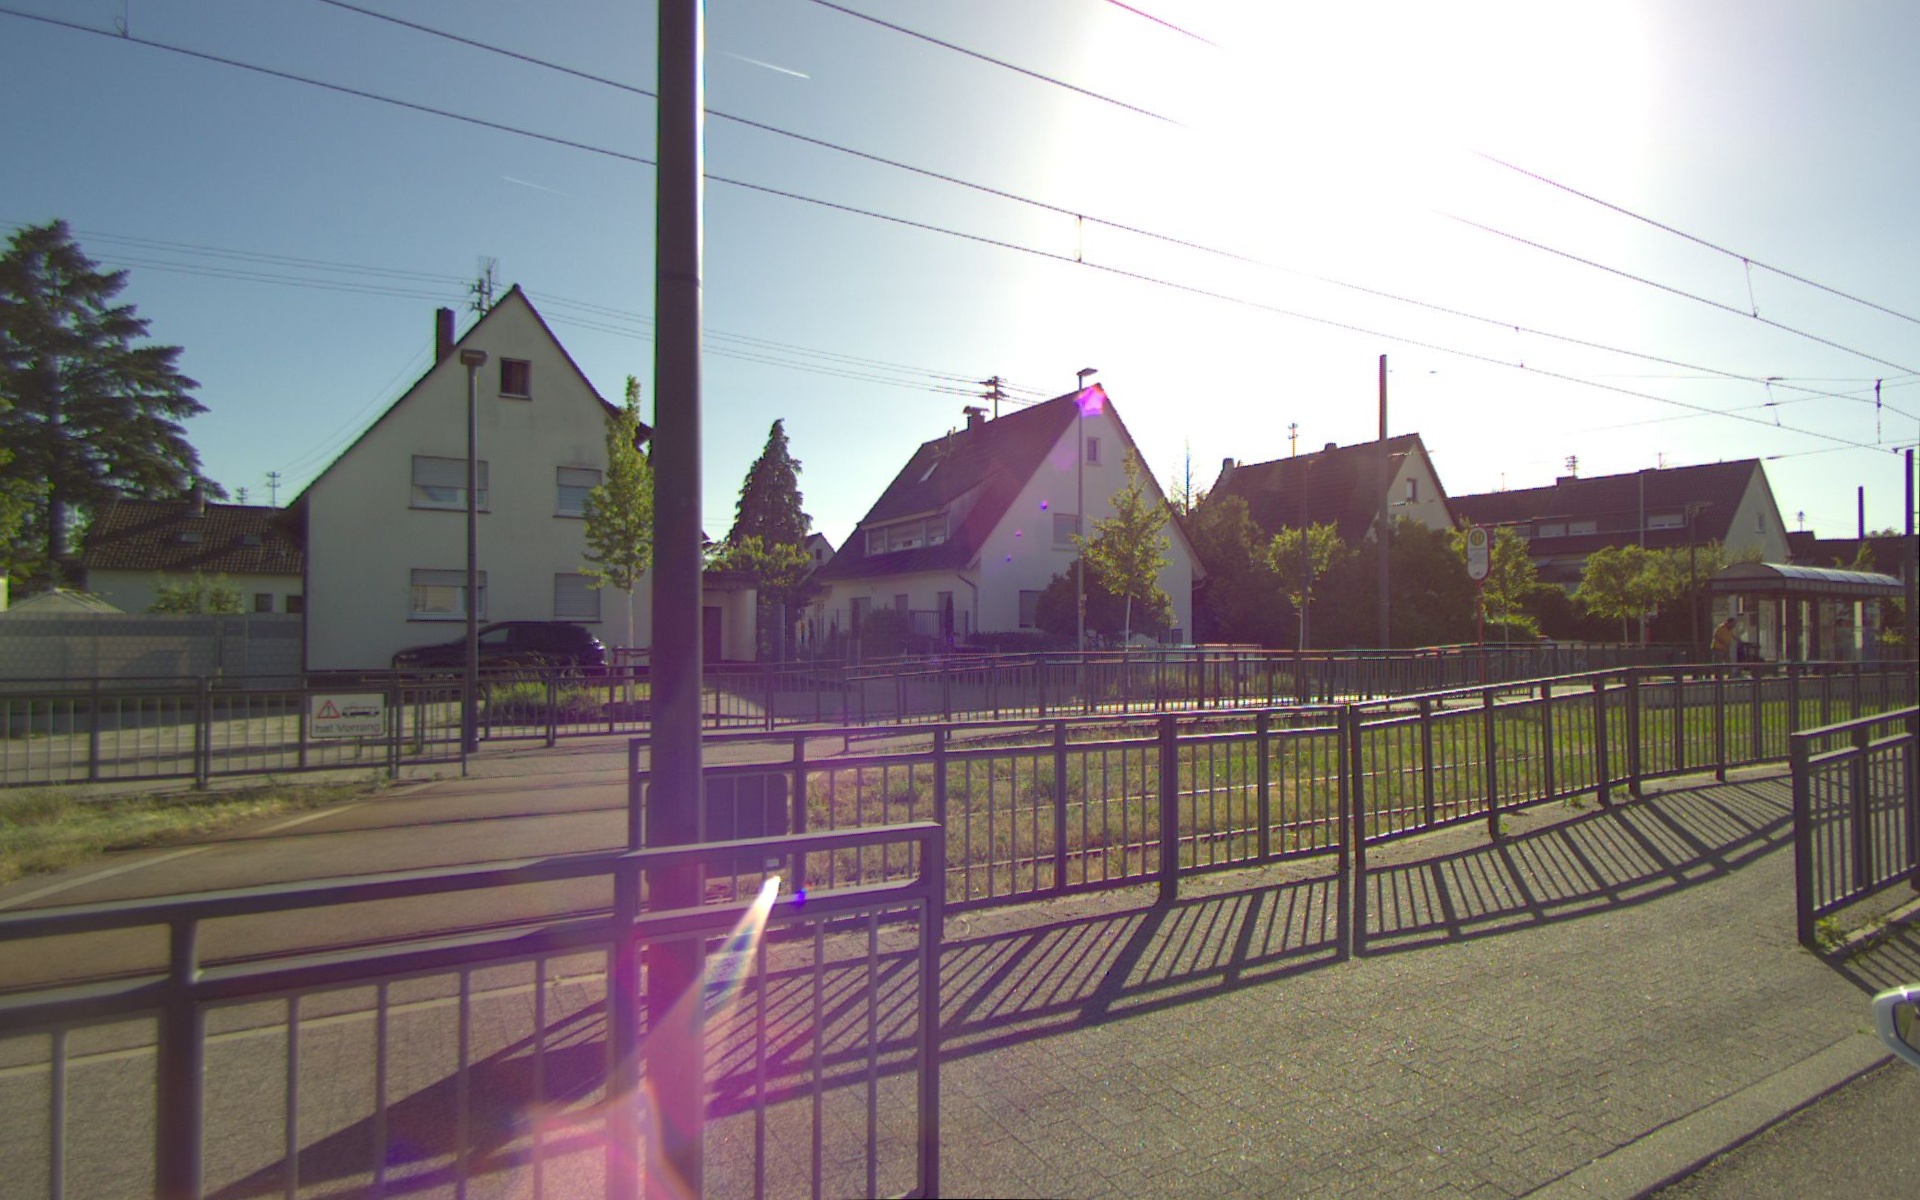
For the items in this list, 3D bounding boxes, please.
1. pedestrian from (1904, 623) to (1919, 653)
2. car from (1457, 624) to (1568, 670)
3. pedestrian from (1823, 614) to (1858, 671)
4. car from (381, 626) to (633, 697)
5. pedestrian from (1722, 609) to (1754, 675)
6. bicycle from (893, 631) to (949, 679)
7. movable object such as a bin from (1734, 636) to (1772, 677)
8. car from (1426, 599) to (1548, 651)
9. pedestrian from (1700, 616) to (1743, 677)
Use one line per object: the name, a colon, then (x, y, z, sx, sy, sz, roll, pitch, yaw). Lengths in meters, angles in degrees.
pedestrian: (58.986, 2.345, 62.058, 0.763, 1.785, 0.725, 1, -2, -32)
car: (23.858, 1.995, 43.477, 1.783, 1.830, 3.816, 2, -1, -37)
pedestrian: (26.916, 1.297, 30.701, 0.762, 1.718, 0.498, 1, -4, -30)
car: (-10.368, 1.364, 23.153, 5.102, 1.469, 1.925, 1, -2, -30)
pedestrian: (20.928, 1.121, 27.016, 0.575, 1.731, 0.516, 1, -2, -34)
bicycle: (-1.189, 1.627, 30.150, 0.698, 1.383, 1.975, 1, -2, -36)
movable object such as a bin: (20.139, 1.428, 25.504, 0.734, 1.001, 0.543, 1, -2, -34)
car: (21.303, 0.980, 40.735, 1.915, 1.996, 3.958, 2, -1, -37)
pedestrian: (19.703, 1.190, 25.980, 0.741, 1.556, 0.671, 1, -2, -34)
